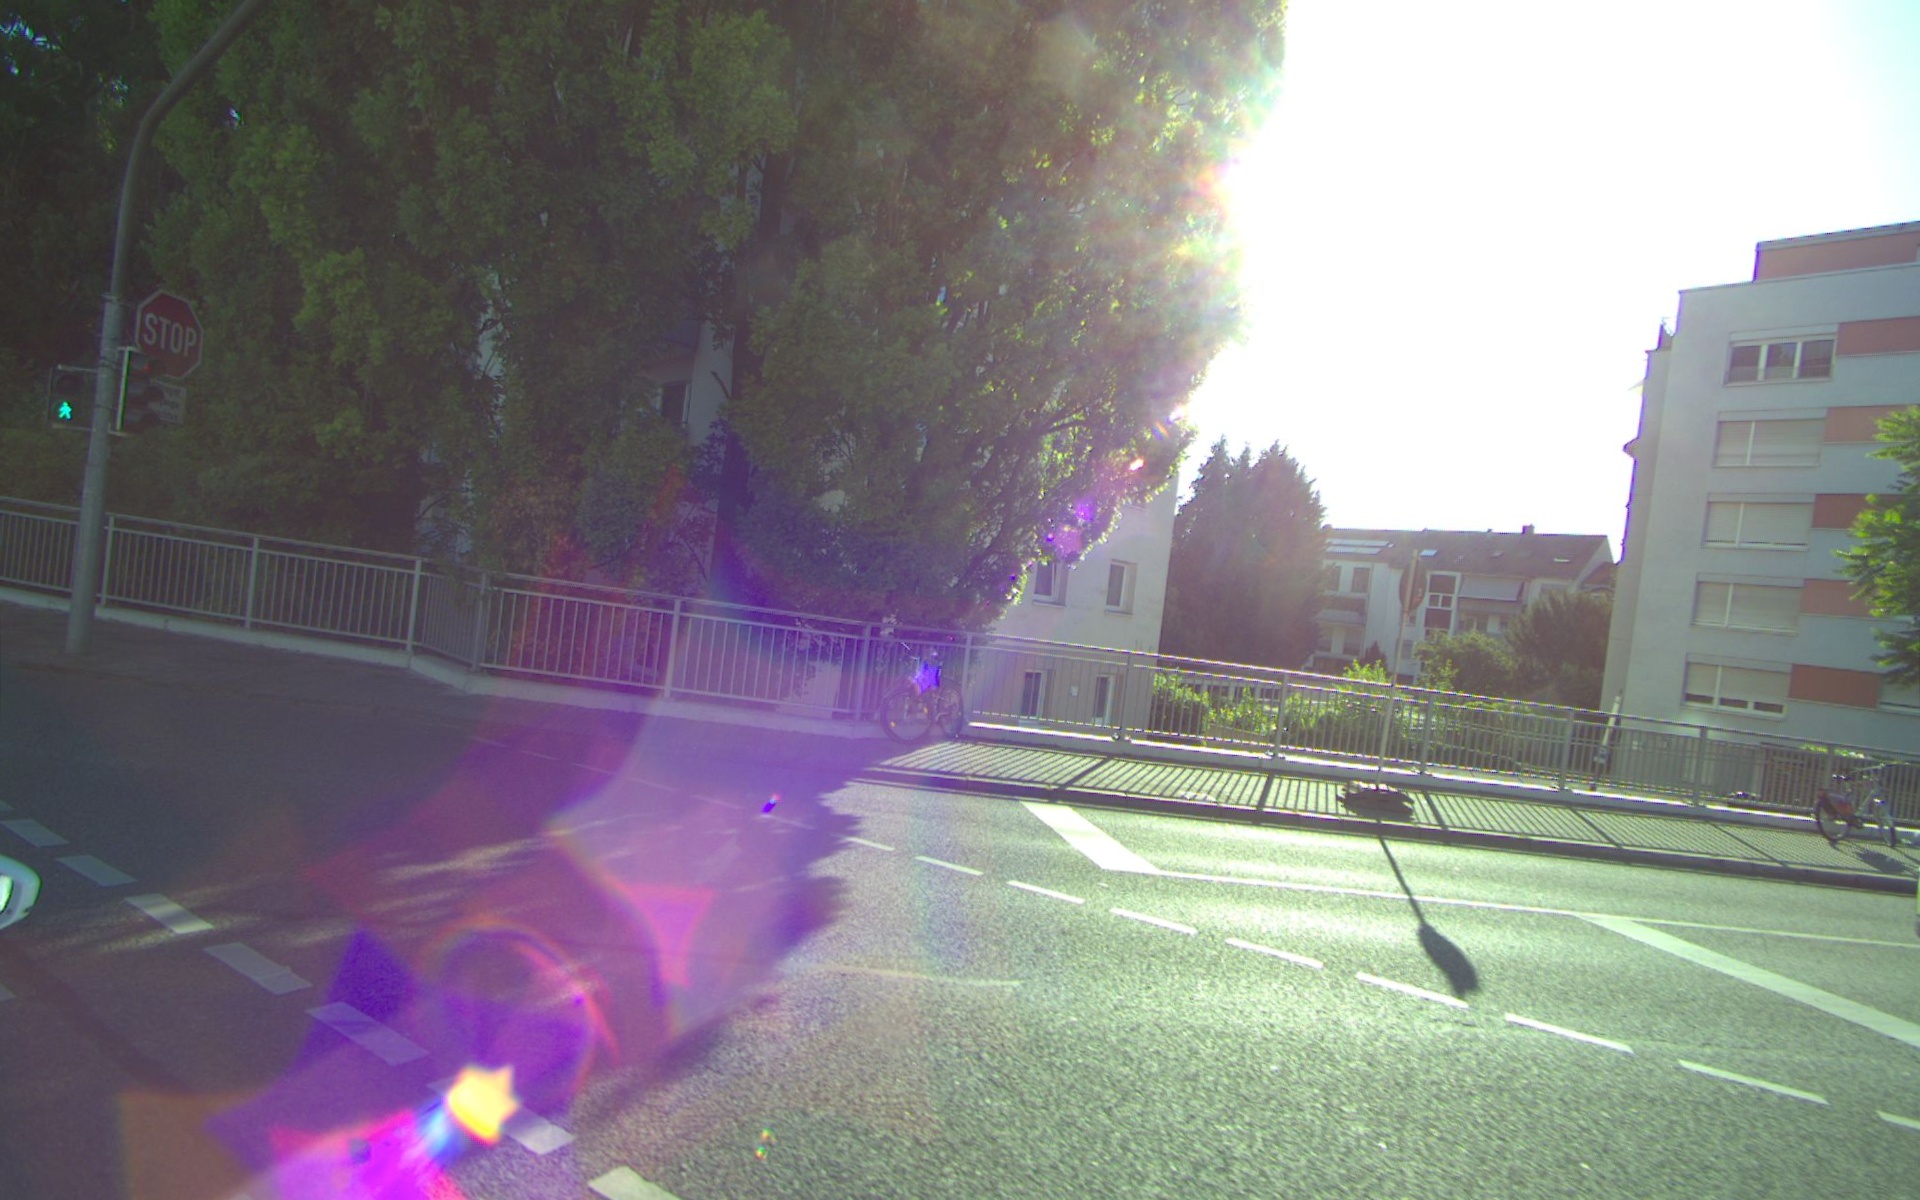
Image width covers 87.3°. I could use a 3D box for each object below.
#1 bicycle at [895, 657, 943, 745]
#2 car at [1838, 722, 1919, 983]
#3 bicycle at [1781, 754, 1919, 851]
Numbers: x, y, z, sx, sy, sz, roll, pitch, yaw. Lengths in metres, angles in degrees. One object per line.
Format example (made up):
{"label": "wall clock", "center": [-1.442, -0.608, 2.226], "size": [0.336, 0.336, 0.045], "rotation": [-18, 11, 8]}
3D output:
{"label": "bicycle", "center": [-0.484, 1.205, 12.251], "size": [0.402, 0.914, 1.289], "rotation": [8, -1, 1]}
{"label": "car", "center": [8.775, 1.999, 6.689], "size": [4.588, 1.688, 1.998], "rotation": [8, -3, -12]}
{"label": "bicycle", "center": [12.729, 2.880, 14.270], "size": [1.895, 1.081, 0.613], "rotation": [9, 0, -16]}
